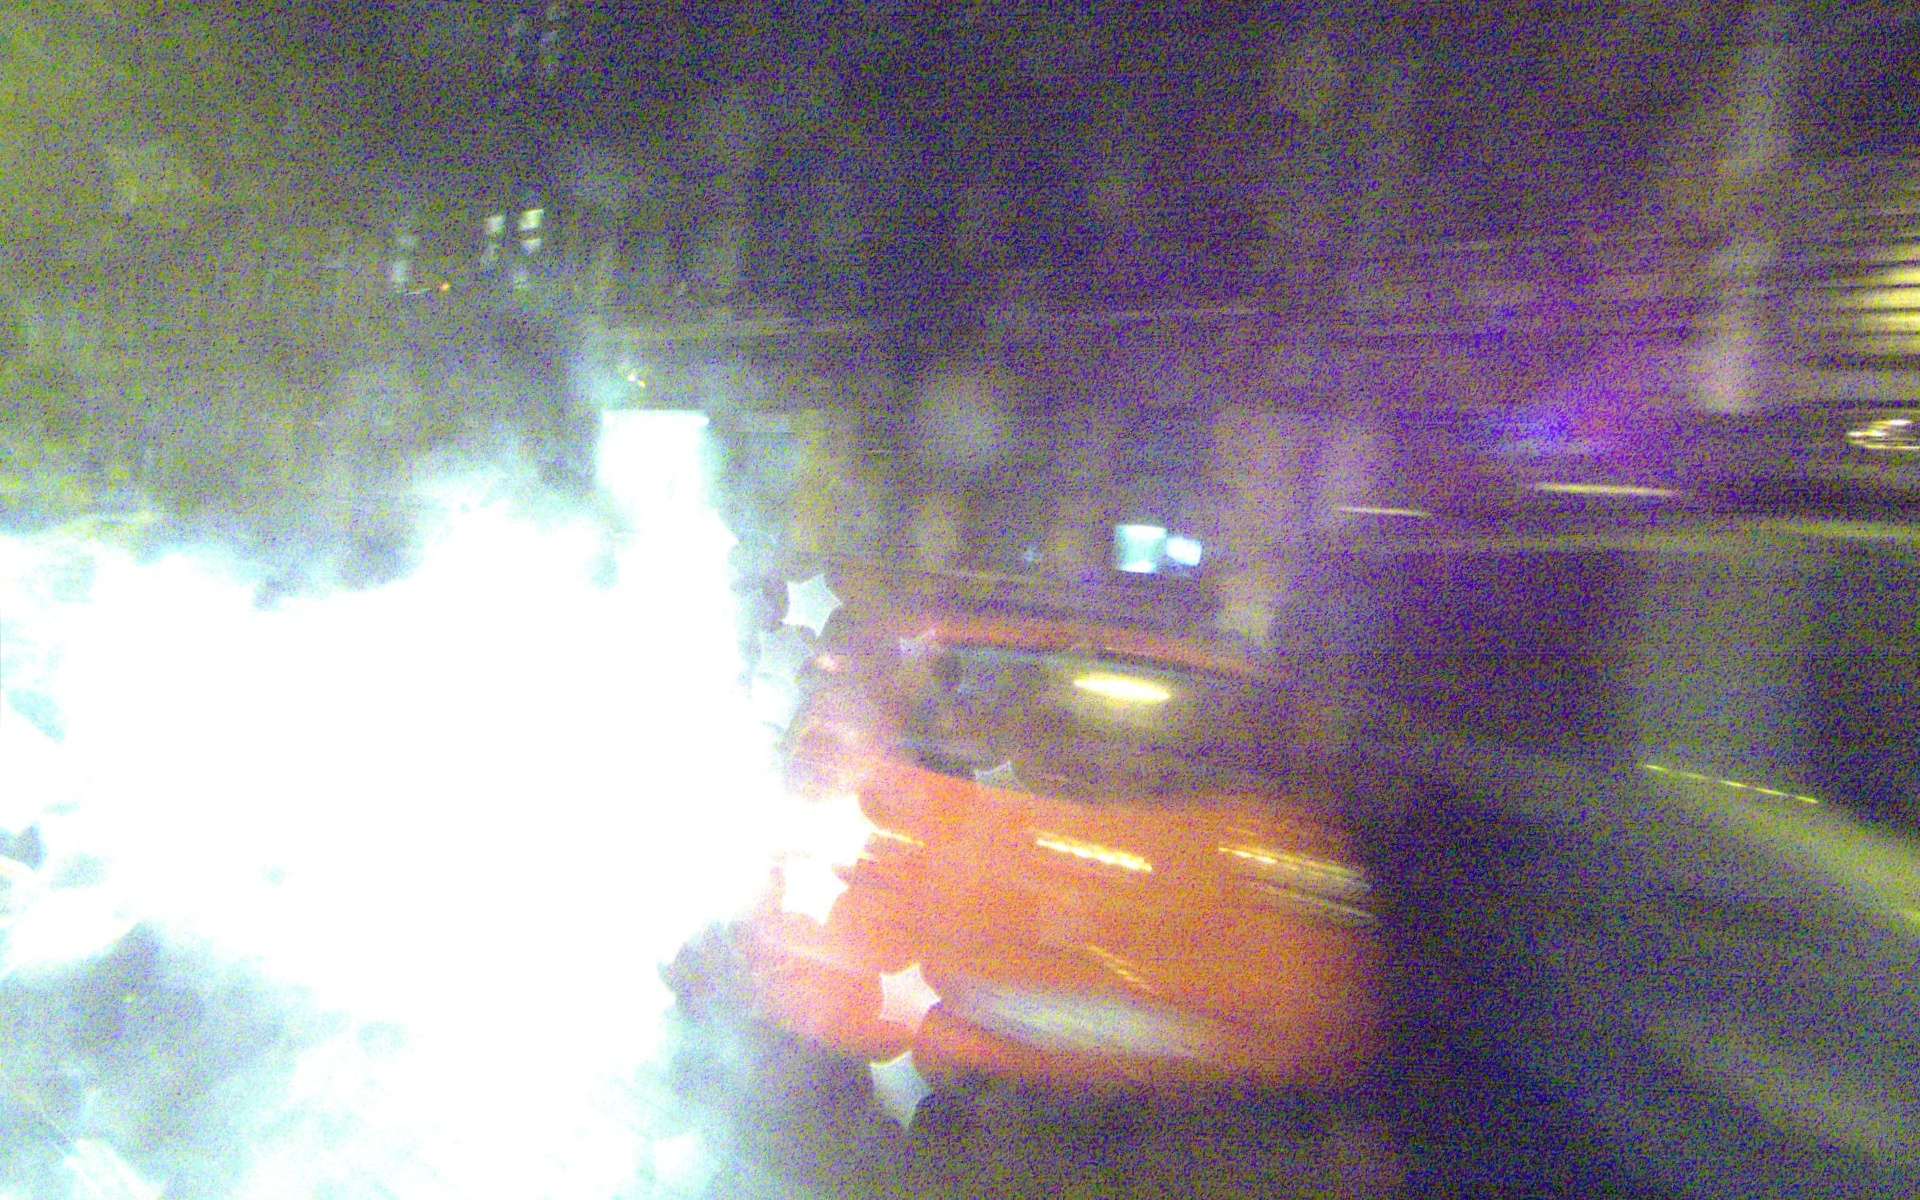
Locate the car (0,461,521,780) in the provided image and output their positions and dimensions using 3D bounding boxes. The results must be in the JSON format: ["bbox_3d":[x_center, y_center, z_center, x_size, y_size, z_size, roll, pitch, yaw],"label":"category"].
[{"bbox_3d":[-4.962,0.055,7.346,1.965,1.572,3.994,6,1,-6],"label":"car"}]

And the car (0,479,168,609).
[{"bbox_3d":[-11.790,-0.737,12.036,1.658,1.470,3.994,6,1,-6],"label":"car"}]

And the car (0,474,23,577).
[{"bbox_3d":[-15.940,-1.304,14.298,1.563,1.600,3.655,7,0,3],"label":"car"}]

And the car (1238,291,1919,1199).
[{"bbox_3d":[2.607,0.641,2.639,1.912,2.276,4.720,6,1,-4],"label":"car"}]

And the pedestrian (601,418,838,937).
[{"bbox_3d":[-1.018,0.317,4.385,0.665,2.041,0.643,7,3,1],"label":"pedestrian"}]

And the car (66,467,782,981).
[{"bbox_3d":[-2.139,0.412,5.201,1.531,1.561,3.652,6,1,2],"label":"car"}]

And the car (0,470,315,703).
[{"bbox_3d":[-7.400,-0.199,8.187,1.772,1.572,3.996,6,1,-3],"label":"car"}]

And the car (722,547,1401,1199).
[{"bbox_3d":[0.139,0.710,4.197,1.549,1.561,3.397,6,1,-4],"label":"car"}]
